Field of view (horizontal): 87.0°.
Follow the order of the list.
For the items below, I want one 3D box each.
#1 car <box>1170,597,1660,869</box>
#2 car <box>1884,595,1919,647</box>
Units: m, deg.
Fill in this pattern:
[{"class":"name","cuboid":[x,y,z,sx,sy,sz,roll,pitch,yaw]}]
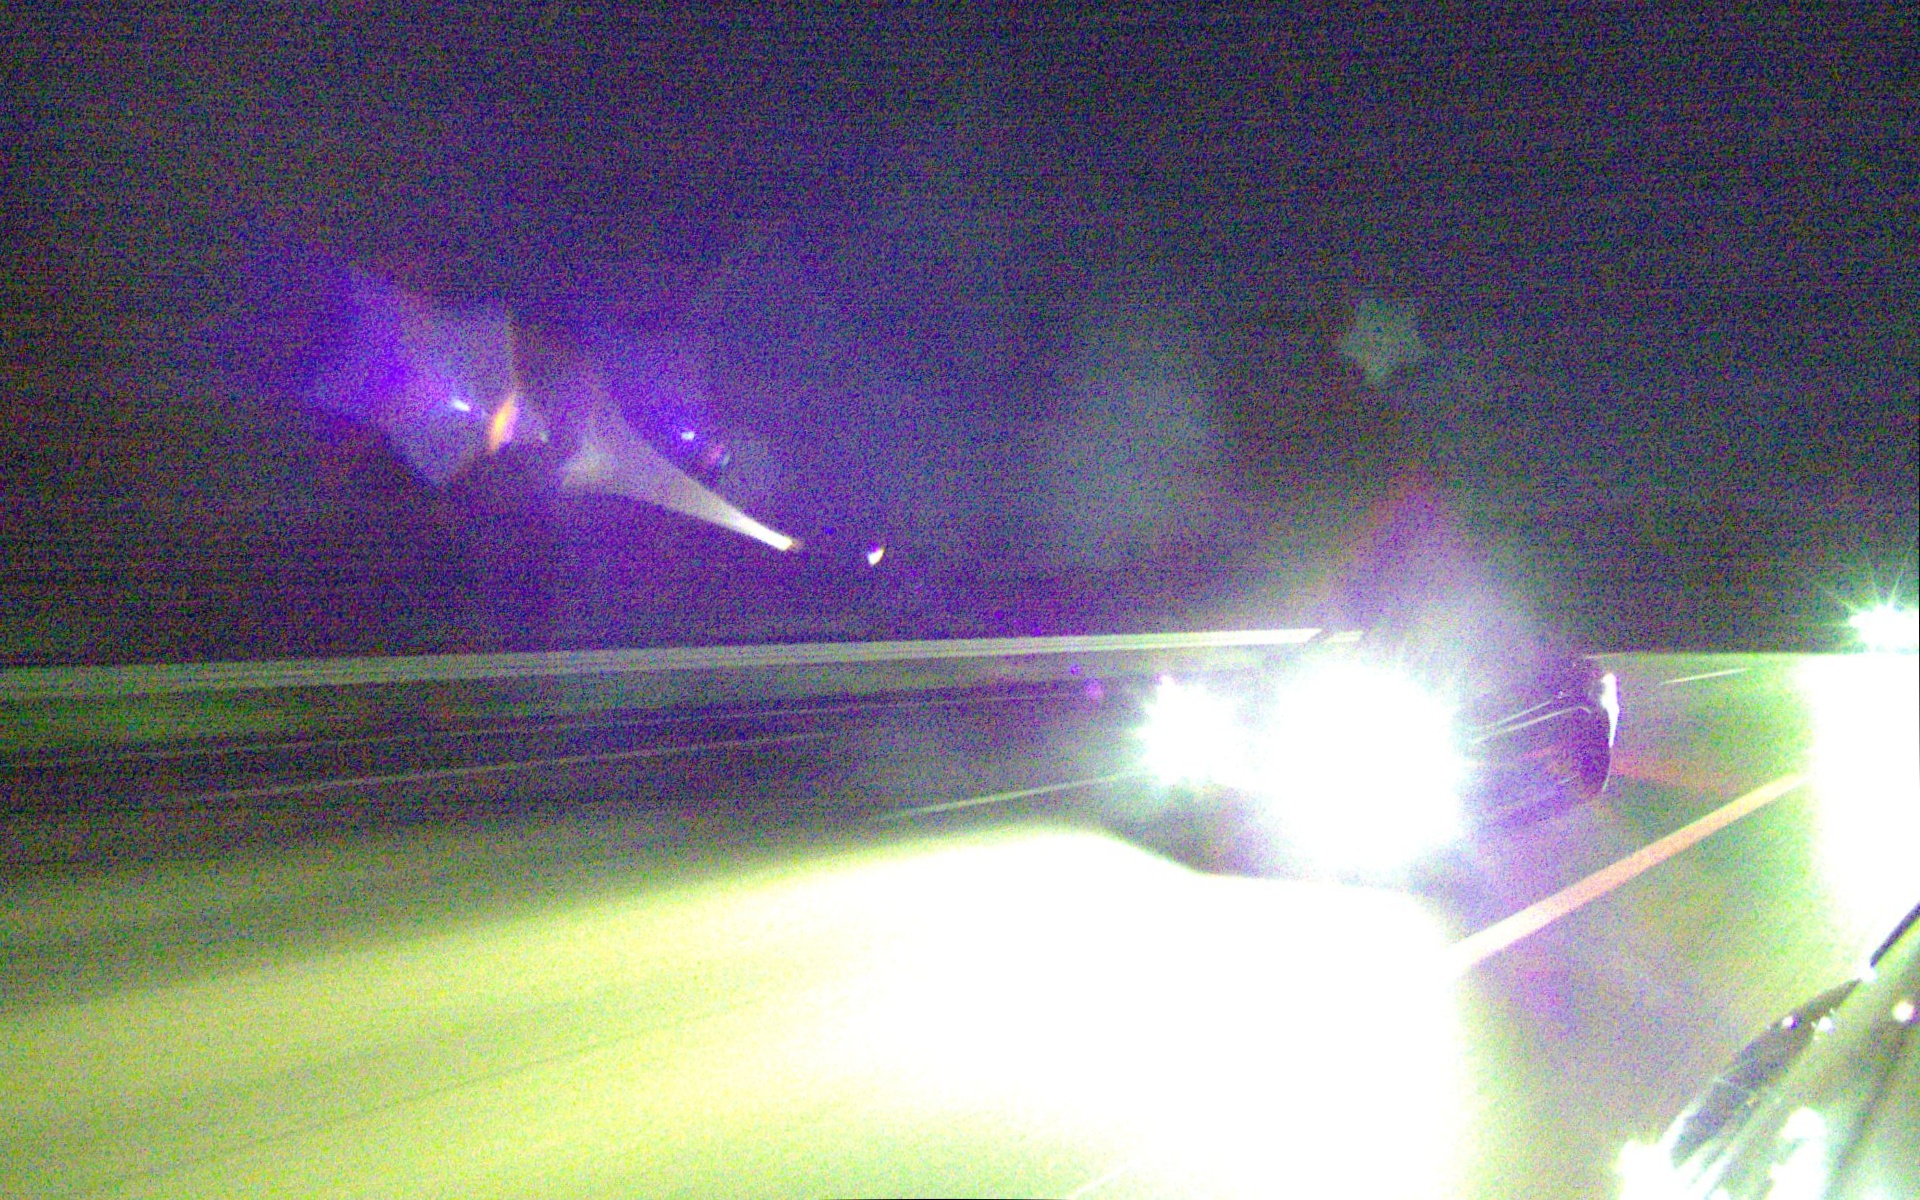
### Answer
[{"class":"car","cuboid":[3.531,0.713,7.481,4.151,1.431,1.689,0,1,-41]},{"class":"car","cuboid":[30.376,0.637,31.594,4.151,1.560,1.794,0,0,-41]}]
